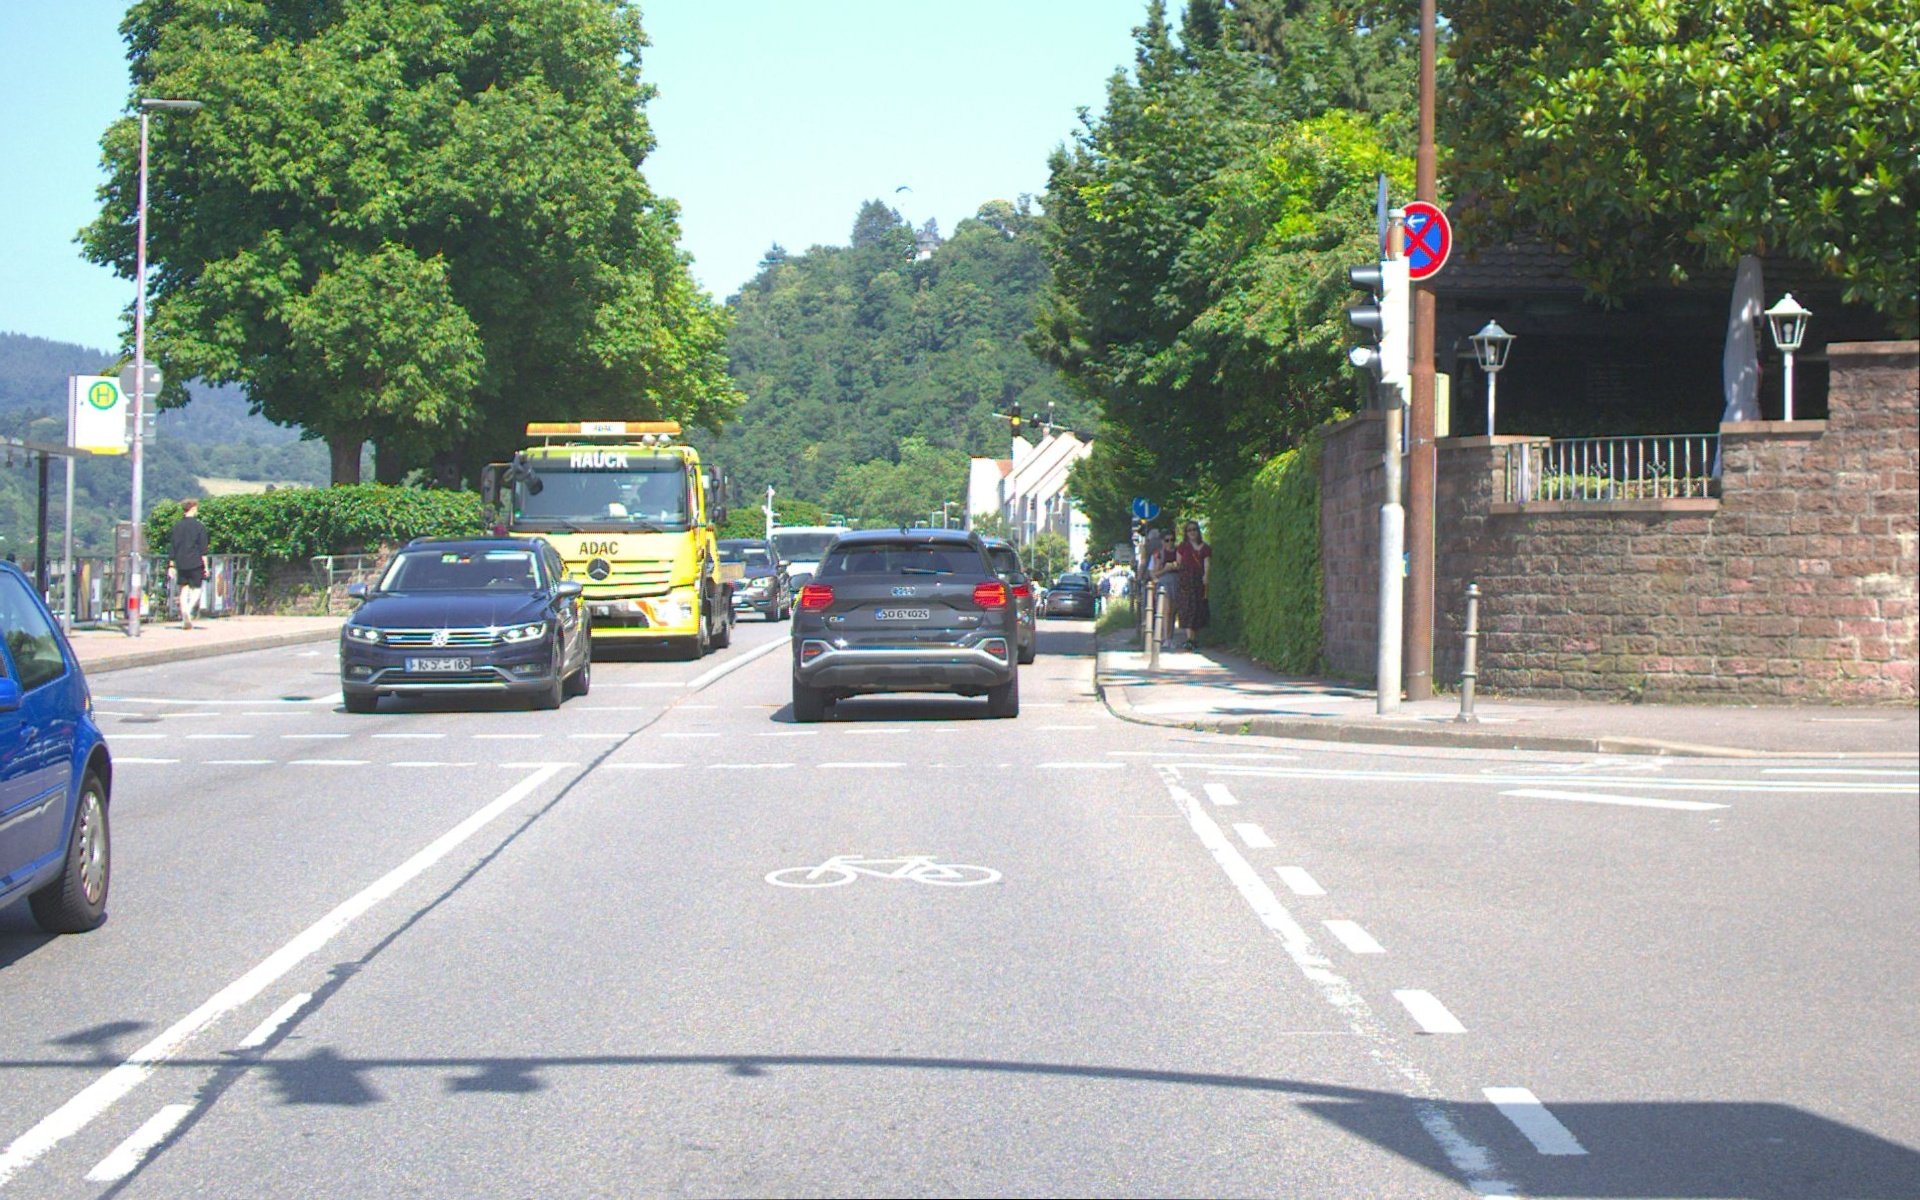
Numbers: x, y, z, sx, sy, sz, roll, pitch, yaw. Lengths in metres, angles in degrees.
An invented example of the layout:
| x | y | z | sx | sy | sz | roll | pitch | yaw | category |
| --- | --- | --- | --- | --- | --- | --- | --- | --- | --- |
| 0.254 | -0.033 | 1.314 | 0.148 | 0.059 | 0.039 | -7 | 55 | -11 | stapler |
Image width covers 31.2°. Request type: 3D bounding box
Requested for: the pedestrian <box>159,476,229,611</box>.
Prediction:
| x | y | z | sx | sy | sz | roll | pitch | yaw | category |
| --- | --- | --- | --- | --- | --- | --- | --- | --- | --- |
| -11.048 | -0.805 | 49.635 | 0.753 | 1.911 | 1.009 | 0 | -1 | 1 | pedestrian |

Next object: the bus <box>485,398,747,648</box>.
| x | y | z | sx | sy | sz | roll | pitch | yaw | category |
| --- | --- | --- | --- | --- | --- | --- | --- | --- | --- |
| -4.249 | -0.996 | 44.016 | 2.597 | 2.886 | 8.448 | 0 | 1 | -1 | bus |

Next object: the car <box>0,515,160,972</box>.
| x | y | z | sx | sy | sz | roll | pitch | yaw | category |
| --- | --- | --- | --- | --- | --- | --- | --- | --- | --- |
| -4.000 | 0.464 | 11.527 | 1.729 | 1.485 | 4.326 | 0 | 1 | -2 | car |

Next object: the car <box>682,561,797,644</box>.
| x | y | z | sx | sy | sz | roll | pitch | yaw | category |
| --- | --- | --- | --- | --- | --- | --- | --- | --- | --- |
| -4.062 | 0.019 | 63.921 | 1.815 | 1.393 | 4.347 | 0 | 2 | 1 | car |

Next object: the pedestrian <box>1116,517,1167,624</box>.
| x | y | z | sx | sy | sz | roll | pitch | yaw | category |
| --- | --- | --- | --- | --- | --- | --- | --- | --- | --- |
| 2.879 | -0.471 | 54.512 | 0.728 | 1.644 | 0.882 | -2 | 1 | 2 | pedestrian |

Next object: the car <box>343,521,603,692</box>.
| x | y | z | sx | sy | sz | roll | pitch | yaw | category |
| --- | --- | --- | --- | --- | --- | --- | --- | --- | --- |
| -4.266 | 0.006 | 30.700 | 1.808 | 1.401 | 4.357 | 0 | 1 | -2 | car |

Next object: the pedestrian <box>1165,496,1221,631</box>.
| x | y | z | sx | sy | sz | roll | pitch | yaw | category |
| --- | --- | --- | --- | --- | --- | --- | --- | --- | --- |
| 3.053 | -0.485 | 45.125 | 0.681 | 1.736 | 0.913 | 0 | 2 | 1 | pedestrian |

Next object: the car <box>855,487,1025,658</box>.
| x | y | z | sx | sy | sz | roll | pitch | yaw | category |
| --- | --- | --- | --- | --- | --- | --- | --- | --- | --- |
| -0.245 | -0.299 | 42.571 | 1.993 | 2.007 | 4.000 | 0 | -1 | 0 | car |

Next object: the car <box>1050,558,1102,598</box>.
| x | y | z | sx | sy | sz | roll | pitch | yaw | category |
| --- | --- | --- | --- | --- | --- | --- | --- | --- | --- |
| 4.493 | -0.845 | 133.712 | 1.993 | 1.448 | 4.008 | 0 | -1 | 1 | car |

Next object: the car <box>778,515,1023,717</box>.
| x | y | z | sx | sy | sz | roll | pitch | yaw | category |
| --- | --- | --- | --- | --- | --- | --- | --- | --- | --- |
| -0.457 | 0.077 | 28.152 | 1.857 | 1.518 | 4.000 | 0 | 1 | 0 | car |

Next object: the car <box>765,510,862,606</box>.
| x | y | z | sx | sy | sz | roll | pitch | yaw | category |
| --- | --- | --- | --- | --- | --- | --- | --- | --- | --- |
| -3.614 | -1.092 | 85.950 | 2.096 | 2.294 | 5.869 | 0 | 2 | 1 | car |

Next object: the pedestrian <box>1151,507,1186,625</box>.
| x | y | z | sx | sy | sz | roll | pitch | yaw | category |
| --- | --- | --- | --- | --- | --- | --- | --- | --- | --- |
| 2.832 | -0.464 | 46.691 | 0.455 | 1.600 | 0.579 | 0 | 1 | 1 | pedestrian |

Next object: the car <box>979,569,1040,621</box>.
| x | y | z | sx | sy | sz | roll | pitch | yaw | category |
| --- | --- | --- | --- | --- | --- | --- | --- | --- | --- |
| 1.573 | -0.169 | 107.283 | 1.795 | 1.476 | 4.000 | 2 | 2 | 2 | car |
